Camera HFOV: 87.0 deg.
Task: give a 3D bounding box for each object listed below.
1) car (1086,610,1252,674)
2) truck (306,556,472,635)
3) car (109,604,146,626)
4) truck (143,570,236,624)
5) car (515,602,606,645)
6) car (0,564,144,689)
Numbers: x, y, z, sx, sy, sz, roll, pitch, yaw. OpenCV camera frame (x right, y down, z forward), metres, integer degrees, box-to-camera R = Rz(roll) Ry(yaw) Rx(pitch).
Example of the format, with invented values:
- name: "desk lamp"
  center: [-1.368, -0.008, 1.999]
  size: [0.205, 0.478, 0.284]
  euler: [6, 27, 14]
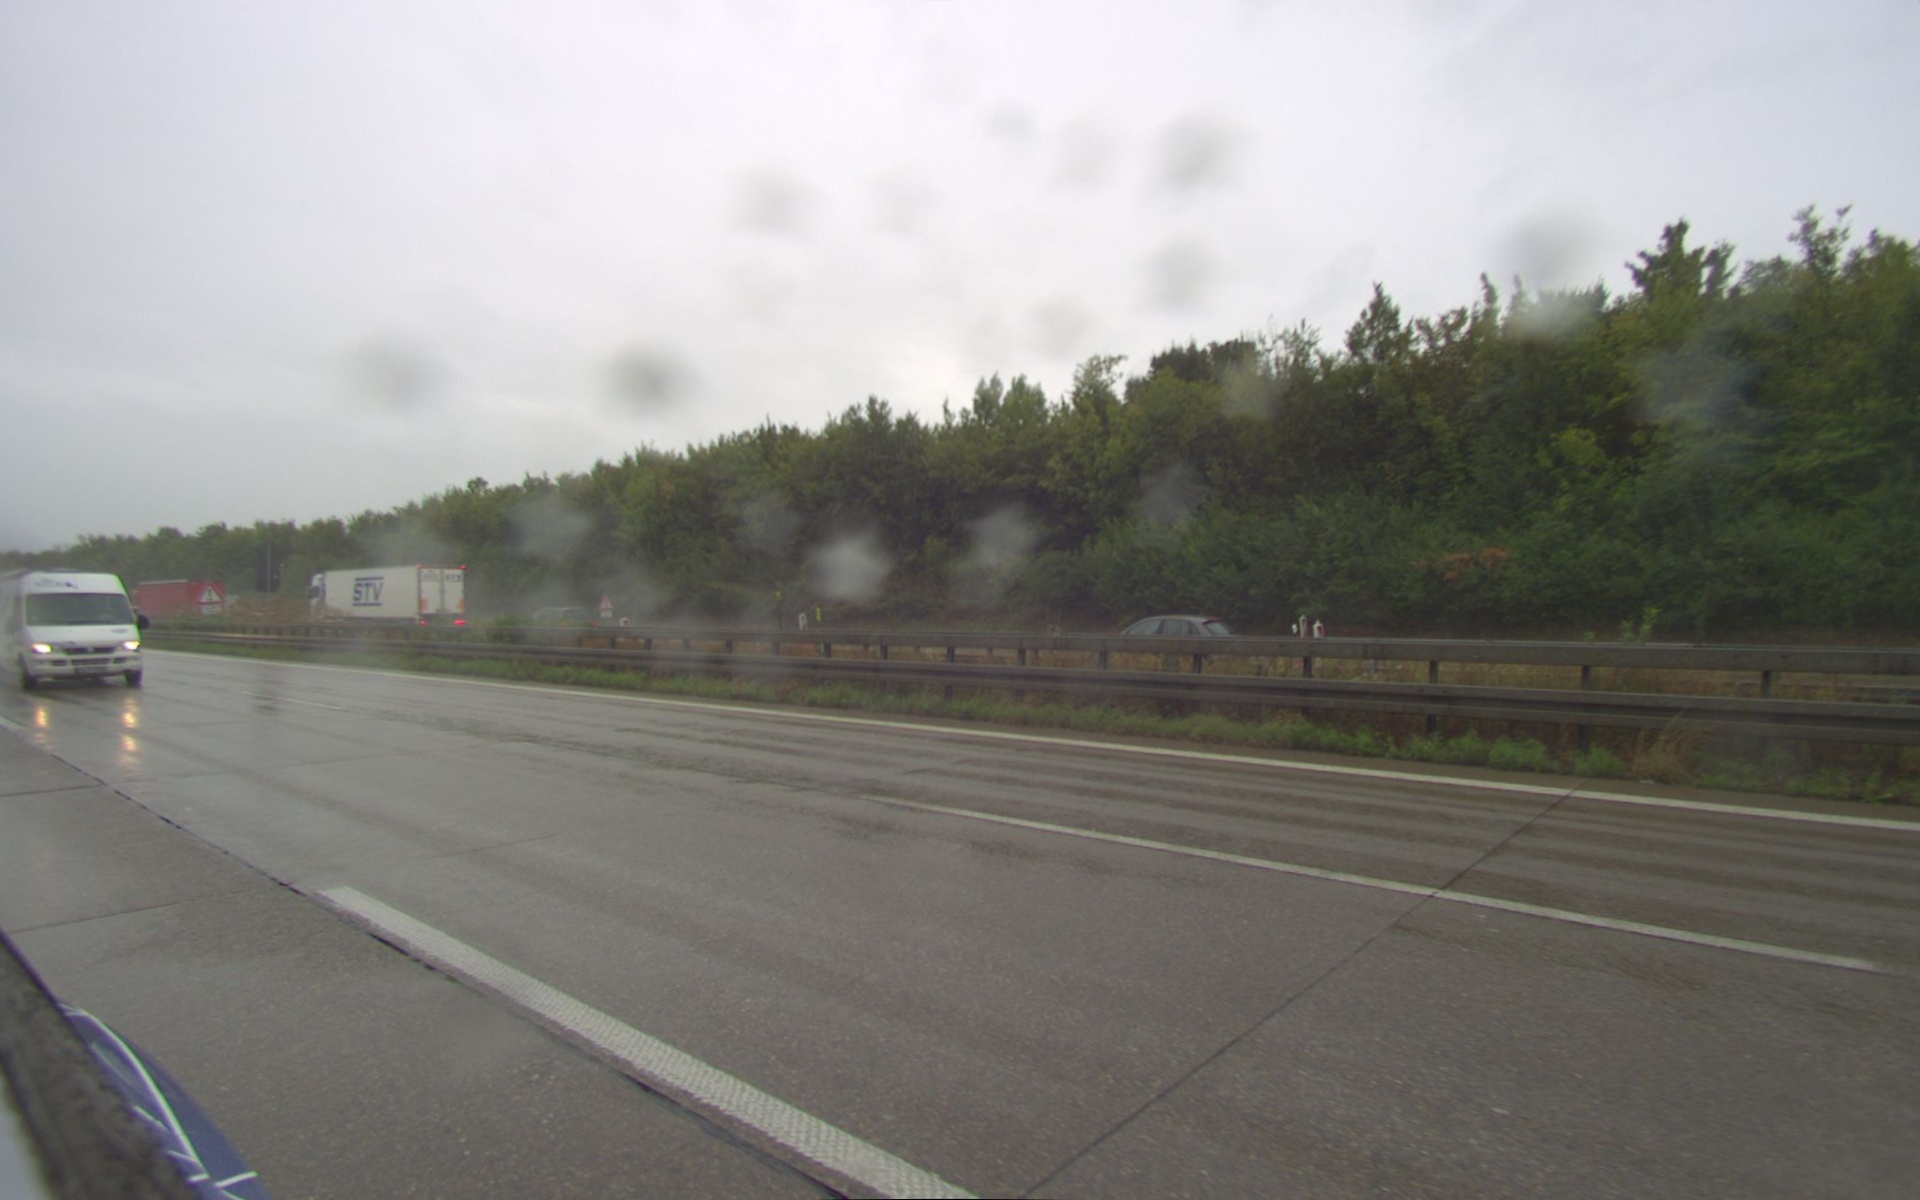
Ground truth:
- name: "car"
  center: [4.727, 0.910, 23.089]
  size: [3.316, 1.322, 1.649]
  euler: [-1, 0, 41]
- name: "truck"
  center: [-34.741, -0.126, 60.982]
  size: [16.356, 4.277, 3.093]
  euler: [-1, 0, 40]
- name: "car"
  center: [-69.445, 1.266, 84.384]
  size: [3.996, 1.785, 1.614]
  euler: [-1, 0, 39]
- name: "truck"
  center: [-65.651, -0.131, 86.035]
  size: [13.525, 4.277, 3.093]
  euler: [-1, 0, 39]
- name: "car"
  center: [-16.655, 0.953, 42.138]
  size: [3.998, 1.671, 1.927]
  euler: [-1, 0, 41]
- name: "car"
  center: [-20.077, 0.559, 22.488]
  size: [5.786, 2.450, 1.977]
  euler: [-1, 0, 40]
